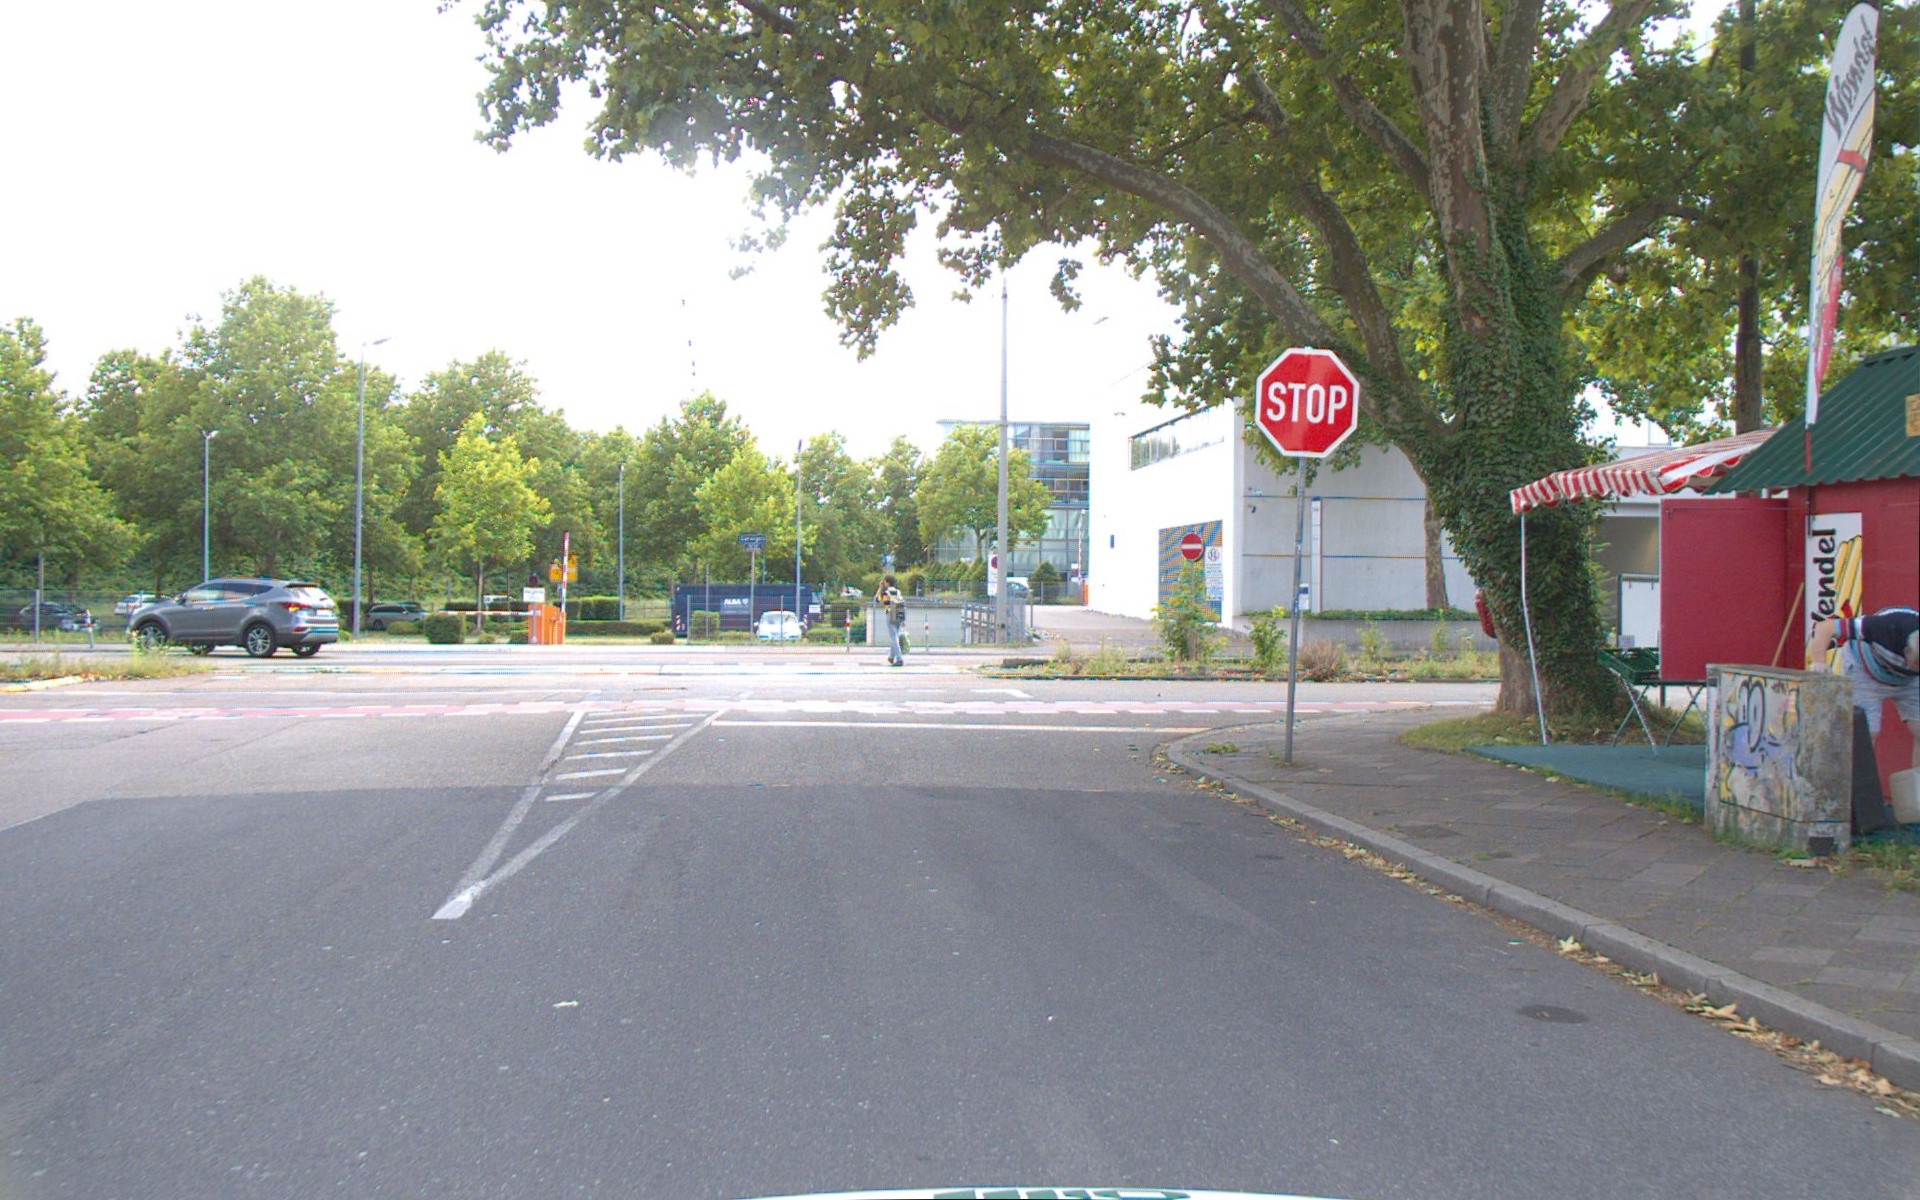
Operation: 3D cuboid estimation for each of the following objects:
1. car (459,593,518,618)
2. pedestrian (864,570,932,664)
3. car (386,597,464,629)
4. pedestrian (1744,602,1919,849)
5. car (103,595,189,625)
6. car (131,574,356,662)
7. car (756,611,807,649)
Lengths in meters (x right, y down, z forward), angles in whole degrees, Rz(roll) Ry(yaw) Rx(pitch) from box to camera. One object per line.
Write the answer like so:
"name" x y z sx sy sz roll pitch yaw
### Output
"car" -34.755 0.414 122.004 1.876 1.751 4.296 1 0 25
"pedestrian" -1.279 0.345 33.870 0.988 1.881 1.220 1 0 -25
"car" -30.092 0.696 93.006 3.907 1.731 1.908 1 0 25
"pedestrian" 5.221 0.684 9.486 0.993 1.337 0.965 1 0 1
"car" -47.850 0.576 97.340 1.876 1.751 4.296 1 0 25
"car" -15.885 0.376 36.767 4.170 1.847 1.970 1 0 9
"car" -6.987 1.162 64.866 1.894 1.427 4.076 0 0 -6
